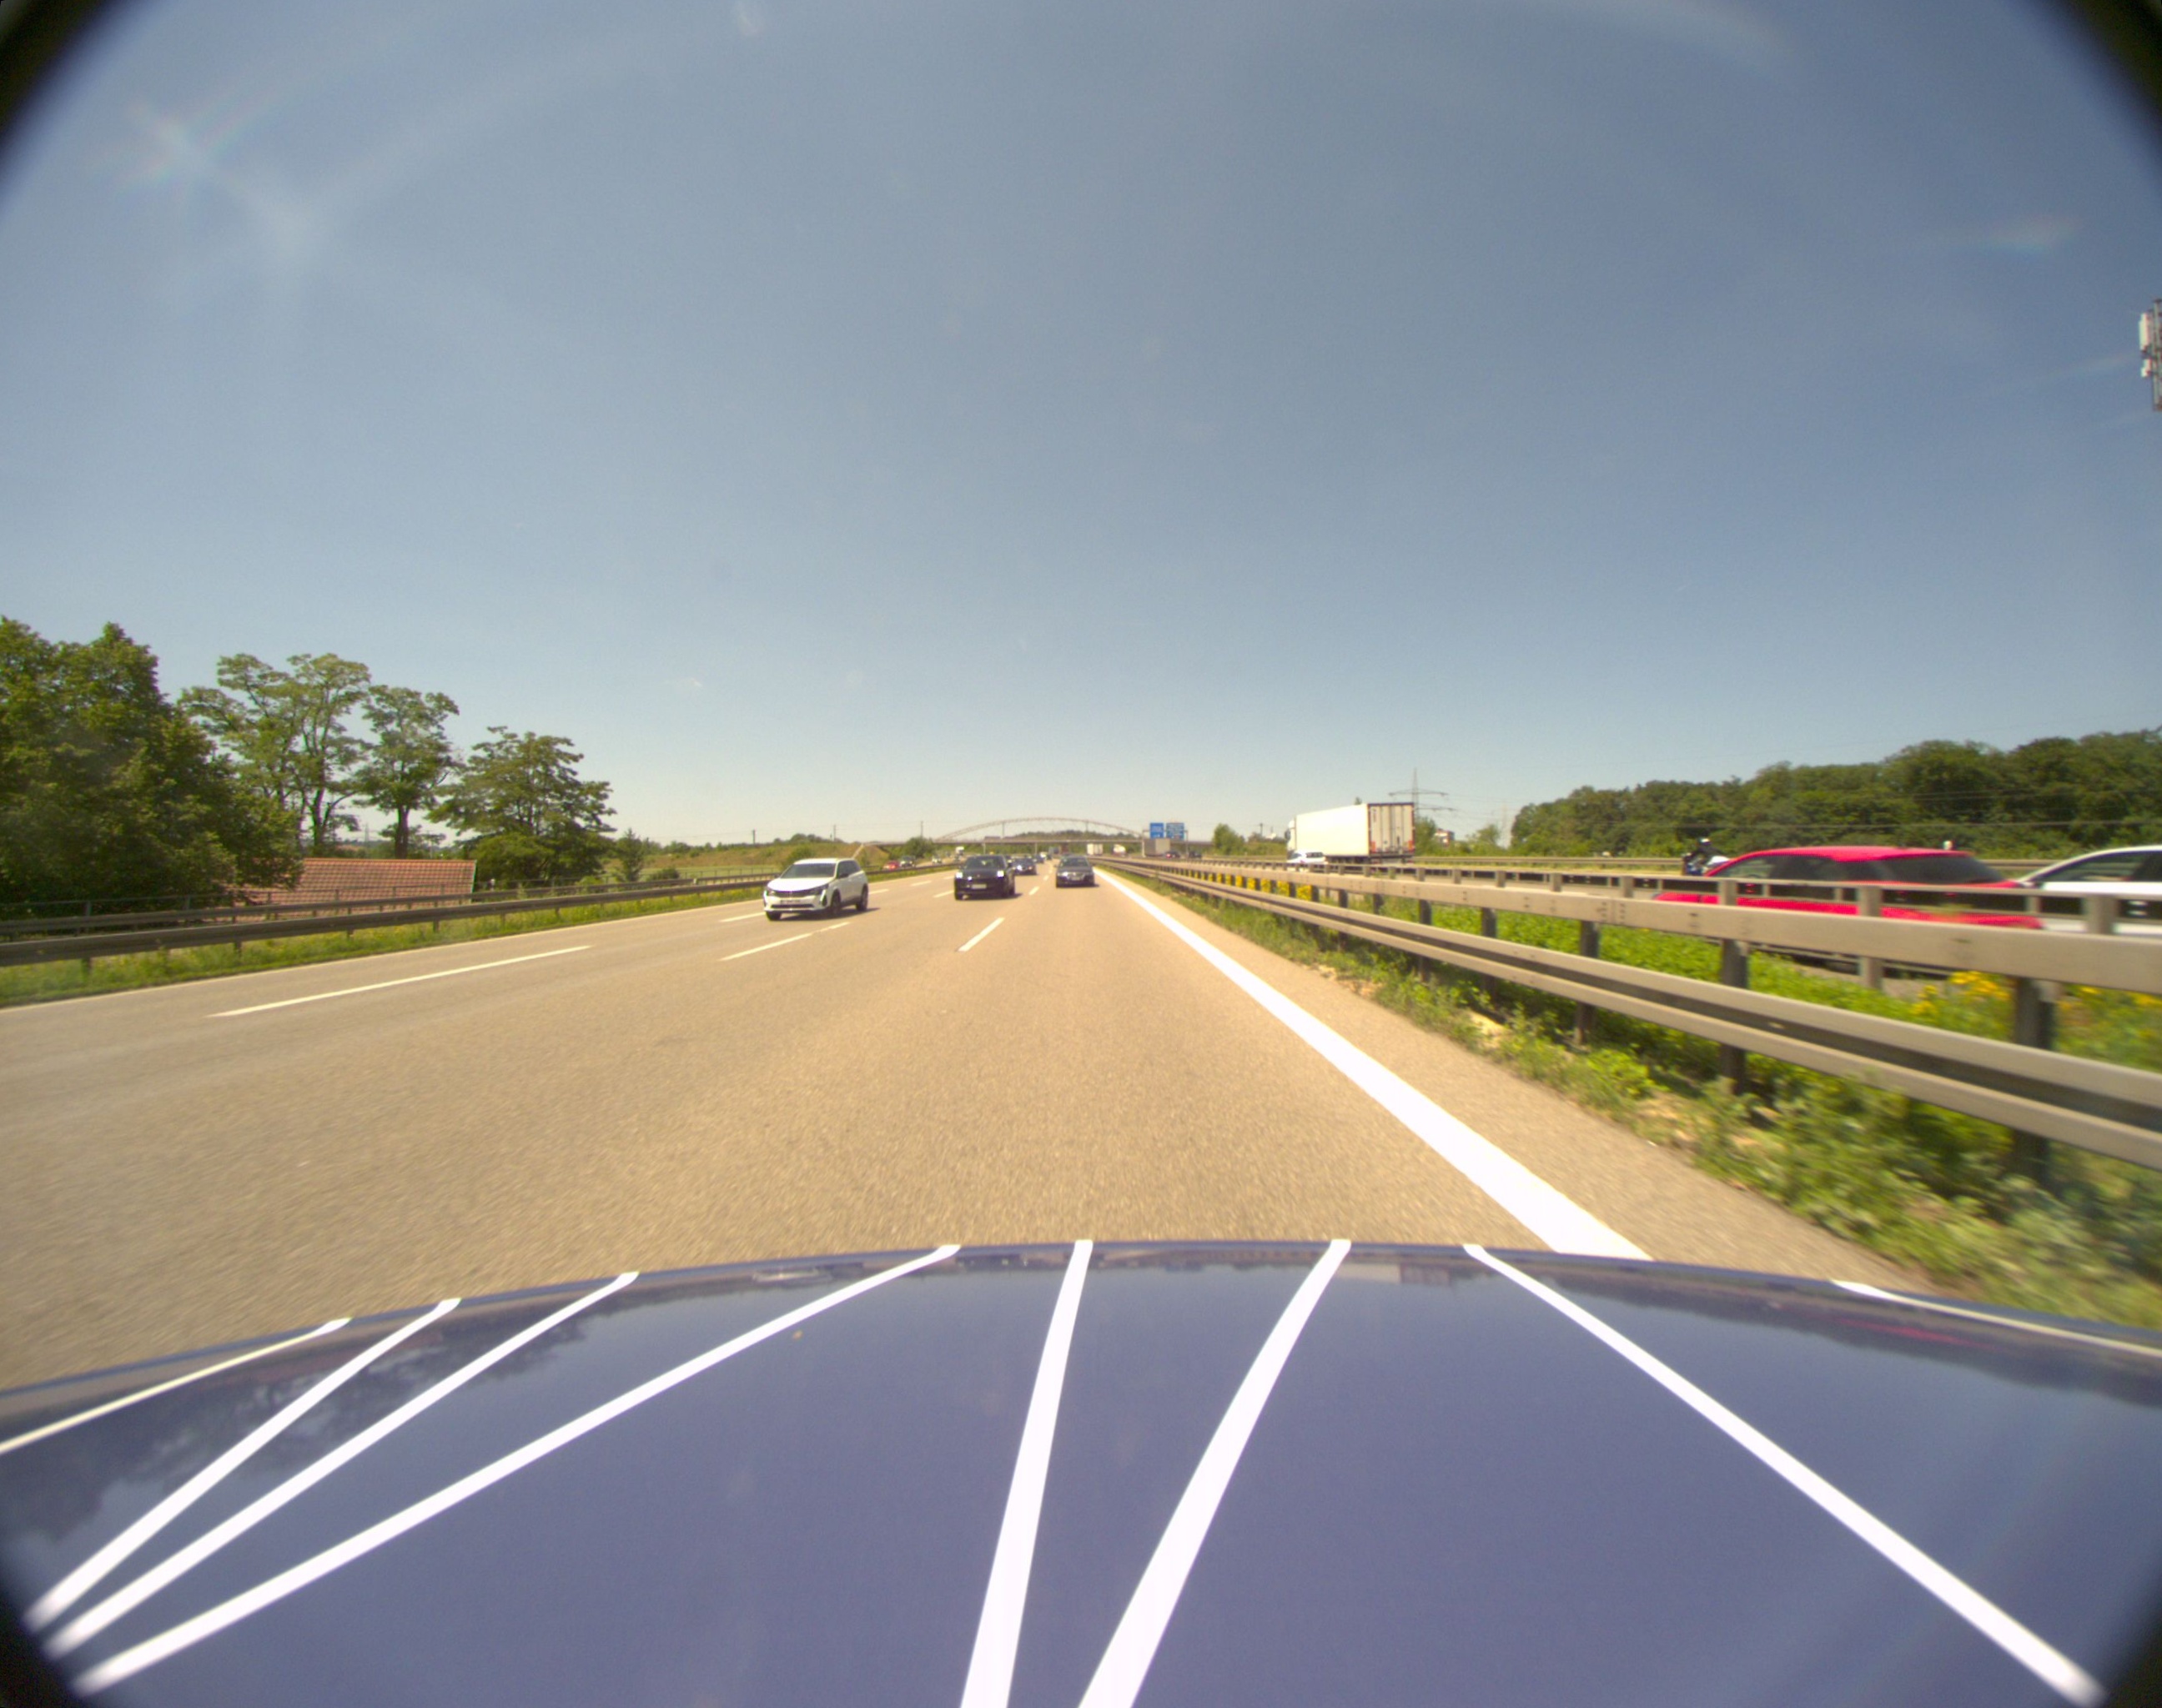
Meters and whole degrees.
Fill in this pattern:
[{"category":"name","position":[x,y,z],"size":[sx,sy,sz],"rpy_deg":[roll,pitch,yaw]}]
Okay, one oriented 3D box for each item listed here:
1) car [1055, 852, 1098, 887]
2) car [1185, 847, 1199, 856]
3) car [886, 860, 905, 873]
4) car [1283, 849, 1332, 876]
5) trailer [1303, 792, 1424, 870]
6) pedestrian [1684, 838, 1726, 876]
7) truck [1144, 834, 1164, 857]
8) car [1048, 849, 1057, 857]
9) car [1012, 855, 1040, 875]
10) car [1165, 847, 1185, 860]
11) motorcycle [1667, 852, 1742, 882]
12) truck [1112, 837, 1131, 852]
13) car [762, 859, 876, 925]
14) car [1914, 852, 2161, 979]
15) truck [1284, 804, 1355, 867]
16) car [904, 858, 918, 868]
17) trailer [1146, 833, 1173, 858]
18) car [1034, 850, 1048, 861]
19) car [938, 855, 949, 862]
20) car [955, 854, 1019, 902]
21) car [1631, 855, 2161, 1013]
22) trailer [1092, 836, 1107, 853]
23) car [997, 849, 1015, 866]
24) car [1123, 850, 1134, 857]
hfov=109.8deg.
[{"category":"car","position":[-0.247,0.711,36.529],"size":[1.932,1.499,4.390],"rpy_deg":[-1,1,-1]},{"category":"car","position":[20.338,-0.440,139.013],"size":[1.883,1.604,3.999],"rpy_deg":[-2,0,-2]},{"category":"car","position":[-24.257,1.625,99.331],"size":[1.704,1.566,4.125],"rpy_deg":[-2,1,-5]},{"category":"car","position":[13.154,0.478,44.324],"size":[1.745,1.480,4.008],"rpy_deg":[-2,0,2]},{"category":"trailer","position":[17.231,-1.287,47.694],"size":[3.043,4.216,12.247],"rpy_deg":[-2,0,0]},{"category":"pedestrian","position":[22.371,0.107,27.264],"size":[0.652,1.309,1.035],"rpy_deg":[-1,1,0]},{"category":"truck","position":[13.467,-1.480,140.752],"size":[2.888,4.093,6.383],"rpy_deg":[-2,0,-1]},{"category":"car","position":[-6.788,-0.251,183.570],"size":[1.999,1.849,3.998],"rpy_deg":[-1,1,-4]},{"category":"car","position":[-4.236,0.806,58.997],"size":[1.932,1.390,4.116],"rpy_deg":[-1,1,-1]},{"category":"car","position":[11.957,-0.087,96.949],"size":[1.999,1.635,4.663],"rpy_deg":[-2,0,-1]},{"category":"motorcycle","position":[22.371,0.443,27.325],"size":[0.659,1.009,2.487],"rpy_deg":[-1,0,0]},{"category":"truck","position":[10.369,-2.339,195.465],"size":[3.228,3.764,12.896],"rpy_deg":[-1,0,-3]},{"category":"car","position":[-7.417,1.002,22.021],"size":[1.748,1.582,4.619],"rpy_deg":[-1,1,-1]},{"category":"car","position":[13.090,0.699,8.816],"size":[1.661,1.395,4.759],"rpy_deg":[-2,0,1]},{"category":"truck","position":[17.216,-1.295,55.353],"size":[3.043,4.216,6.684],"rpy_deg":[-2,0,0]},{"category":"car","position":[-28.115,1.450,125.465],"size":[1.704,1.566,4.125],"rpy_deg":[-2,1,-5]},{"category":"trailer","position":[13.653,-1.445,133.203],"size":[2.898,4.089,12.583],"rpy_deg":[-2,0,-1]},{"category":"car","position":[-6.791,0.254,129.420],"size":[1.924,1.761,4.000],"rpy_deg":[-1,1,3]},{"category":"car","position":[-30.561,0.962,168.752],"size":[1.704,1.566,4.126],"rpy_deg":[-1,1,-2]},{"category":"car","position":[-3.468,0.842,28.689],"size":[1.932,1.586,4.131],"rpy_deg":[-1,1,-1]},{"category":"car","position":[9.461,0.756,9.550],"size":[1.661,1.415,4.775],"rpy_deg":[-2,0,1]},{"category":"trailer","position":[5.030,-2.636,207.703],"size":[2.963,4.346,10.728],"rpy_deg":[-1,1,-3]},{"category":"car","position":[-8.895,0.385,90.439],"size":[1.809,1.908,4.293],"rpy_deg":[-1,1,-3]},{"category":"car","position":[9.701,-0.061,155.661],"size":[1.710,1.352,4.496],"rpy_deg":[-2,0,-1]}]
